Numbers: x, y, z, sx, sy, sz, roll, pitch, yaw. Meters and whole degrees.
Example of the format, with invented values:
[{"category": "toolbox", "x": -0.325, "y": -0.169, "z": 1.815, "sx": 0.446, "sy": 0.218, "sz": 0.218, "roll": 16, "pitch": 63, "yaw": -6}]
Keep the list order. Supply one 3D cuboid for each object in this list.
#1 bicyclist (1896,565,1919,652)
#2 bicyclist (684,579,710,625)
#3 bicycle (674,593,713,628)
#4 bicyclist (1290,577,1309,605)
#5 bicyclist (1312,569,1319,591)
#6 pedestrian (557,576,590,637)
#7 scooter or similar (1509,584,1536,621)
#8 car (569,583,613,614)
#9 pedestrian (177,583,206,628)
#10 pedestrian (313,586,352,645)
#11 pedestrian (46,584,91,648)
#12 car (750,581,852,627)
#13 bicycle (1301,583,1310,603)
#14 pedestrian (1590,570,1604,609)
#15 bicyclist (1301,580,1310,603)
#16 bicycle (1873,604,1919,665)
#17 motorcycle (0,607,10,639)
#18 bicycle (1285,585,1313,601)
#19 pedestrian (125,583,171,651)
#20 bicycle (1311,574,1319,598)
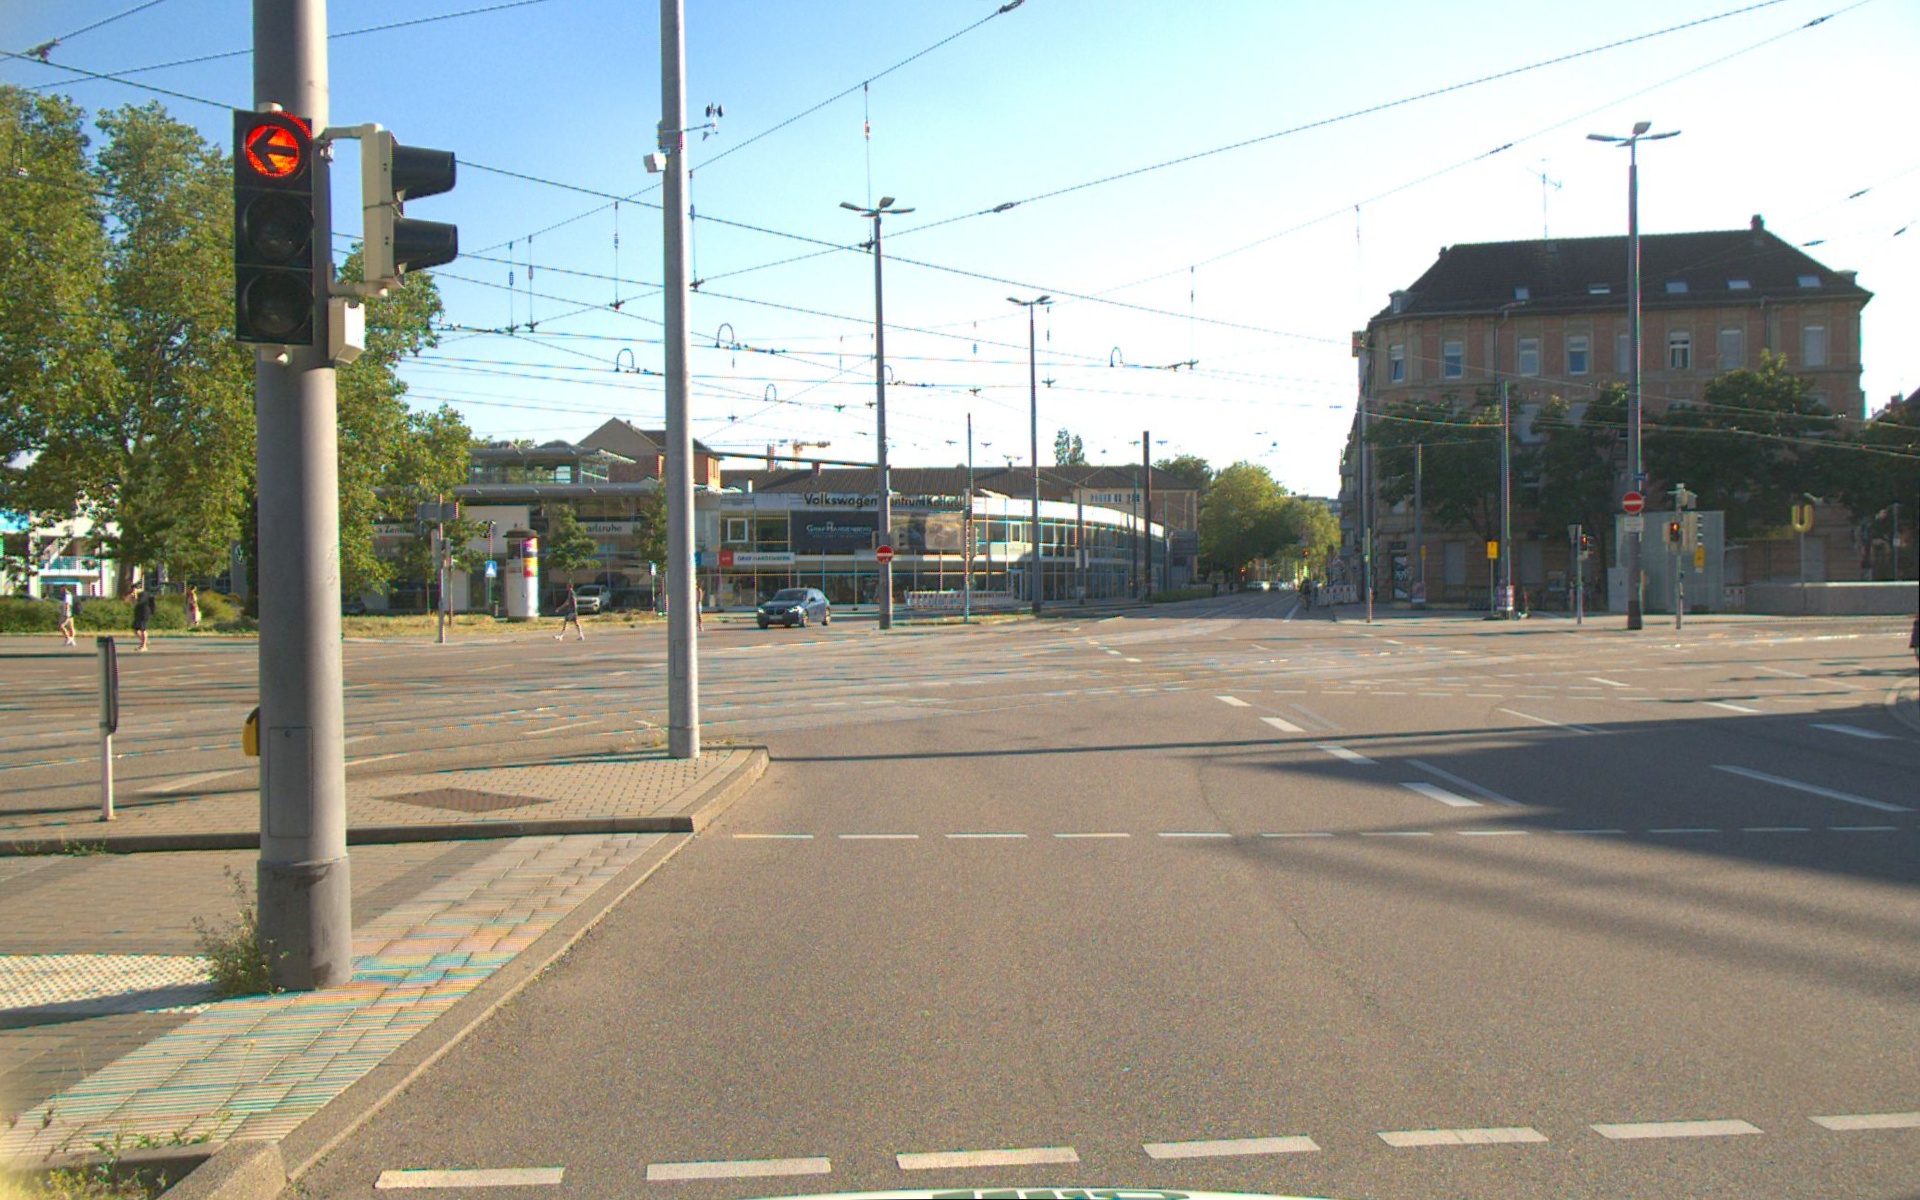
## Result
[{"category": "bicyclist", "x": 17.596, "y": 0.158, "z": 30.097, "sx": 0.505, "sy": 1.584, "sz": 0.945, "roll": 1, "pitch": 0, "yaw": -9}, {"category": "bicyclist", "x": -9.496, "y": 0.065, "z": 59.698, "sx": 0.585, "sy": 1.644, "sz": 0.823, "roll": 1, "pitch": -1, "yaw": 16}, {"category": "bicycle", "x": -9.568, "y": 0.383, "z": 59.480, "sx": 0.599, "sy": 1.210, "sz": 1.870, "roll": 1, "pitch": 0, "yaw": 17}, {"category": "bicyclist", "x": 20.004, "y": -0.534, "z": 97.539, "sx": 0.766, "sy": 1.604, "sz": 0.751, "roll": 1, "pitch": -1, "yaw": -38}, {"category": "bicyclist", "x": 31.166, "y": -1.761, "z": 144.948, "sx": 0.586, "sy": 1.840, "sz": 0.828, "roll": 1, "pitch": -1, "yaw": 12}, {"category": "pedestrian", "x": -12.433, "y": 0.214, "z": 53.191, "sx": 0.777, "sy": 1.919, "sz": 0.759, "roll": 1, "pitch": -1, "yaw": 6}, {"category": "scooter or similar", "x": 21.622, "y": 0.101, "z": 63.616, "sx": 0.769, "sy": 1.400, "sz": 1.910, "roll": 1, "pitch": 0, "yaw": 13}, {"category": "car", "x": -22.094, "y": -0.056, "z": 99.076, "sx": 1.954, "sy": 1.780, "sz": 3.997, "roll": 1, "pitch": 0, "yaw": -4}, {"category": "pedestrian", "x": -29.838, "y": 0.208, "z": 64.230, "sx": 0.839, "sy": 1.723, "sz": 0.496, "roll": 1, "pitch": -1, "yaw": -3}, {"category": "pedestrian", "x": -18.648, "y": 0.453, "z": 49.143, "sx": 0.777, "sy": 1.736, "sz": 0.759, "roll": 1, "pitch": -1, "yaw": 6}, {"category": "pedestrian", "x": -24.891, "y": 0.443, "z": 46.199, "sx": 0.777, "sy": 1.736, "sz": 0.759, "roll": 1, "pitch": -1, "yaw": 6}, {"category": "car", "x": -5.881, "y": 0.168, "z": 61.522, "sx": 1.954, "sy": 1.613, "sz": 3.996, "roll": 1, "pitch": 0, "yaw": 26}, {"category": "bicycle", "x": 17.169, "y": -0.361, "z": 82.245, "sx": 0.401, "sy": 0.958, "sz": 1.847, "roll": 1, "pitch": 0, "yaw": 12}, {"category": "pedestrian", "x": 33.127, "y": -0.548, "z": 85.967, "sx": 0.589, "sy": 2.049, "sz": 0.647, "roll": -1, "pitch": 0, "yaw": 14}, {"category": "bicyclist", "x": 17.200, "y": -0.443, "z": 82.358, "sx": 0.399, "sy": 1.136, "sz": 0.399, "roll": 1, "pitch": -1, "yaw": 11}, {"category": "bicycle", "x": 17.604, "y": 0.640, "z": 29.962, "sx": 0.524, "sy": 1.067, "sz": 2.316, "roll": 1, "pitch": 1, "yaw": -9}, {"category": "motorcycle", "x": -28.927, "y": 0.668, "z": 48.501, "sx": 1.748, "sy": 0.930, "sz": 0.675, "roll": 1, "pitch": 0, "yaw": -21}, {"category": "bicycle", "x": 19.997, "y": -0.420, "z": 97.539, "sx": 0.652, "sy": 0.969, "sz": 1.579, "roll": 1, "pitch": 0, "yaw": -36}, {"category": "pedestrian", "x": -21.181, "y": 0.444, "z": 43.155, "sx": 0.777, "sy": 1.736, "sz": 0.759, "roll": 1, "pitch": -1, "yaw": 6}, {"category": "bicycle", "x": 31.116, "y": -1.234, "z": 144.822, "sx": 0.604, "sy": 2.049, "sz": 2.402, "roll": 1, "pitch": 0, "yaw": 13}]
